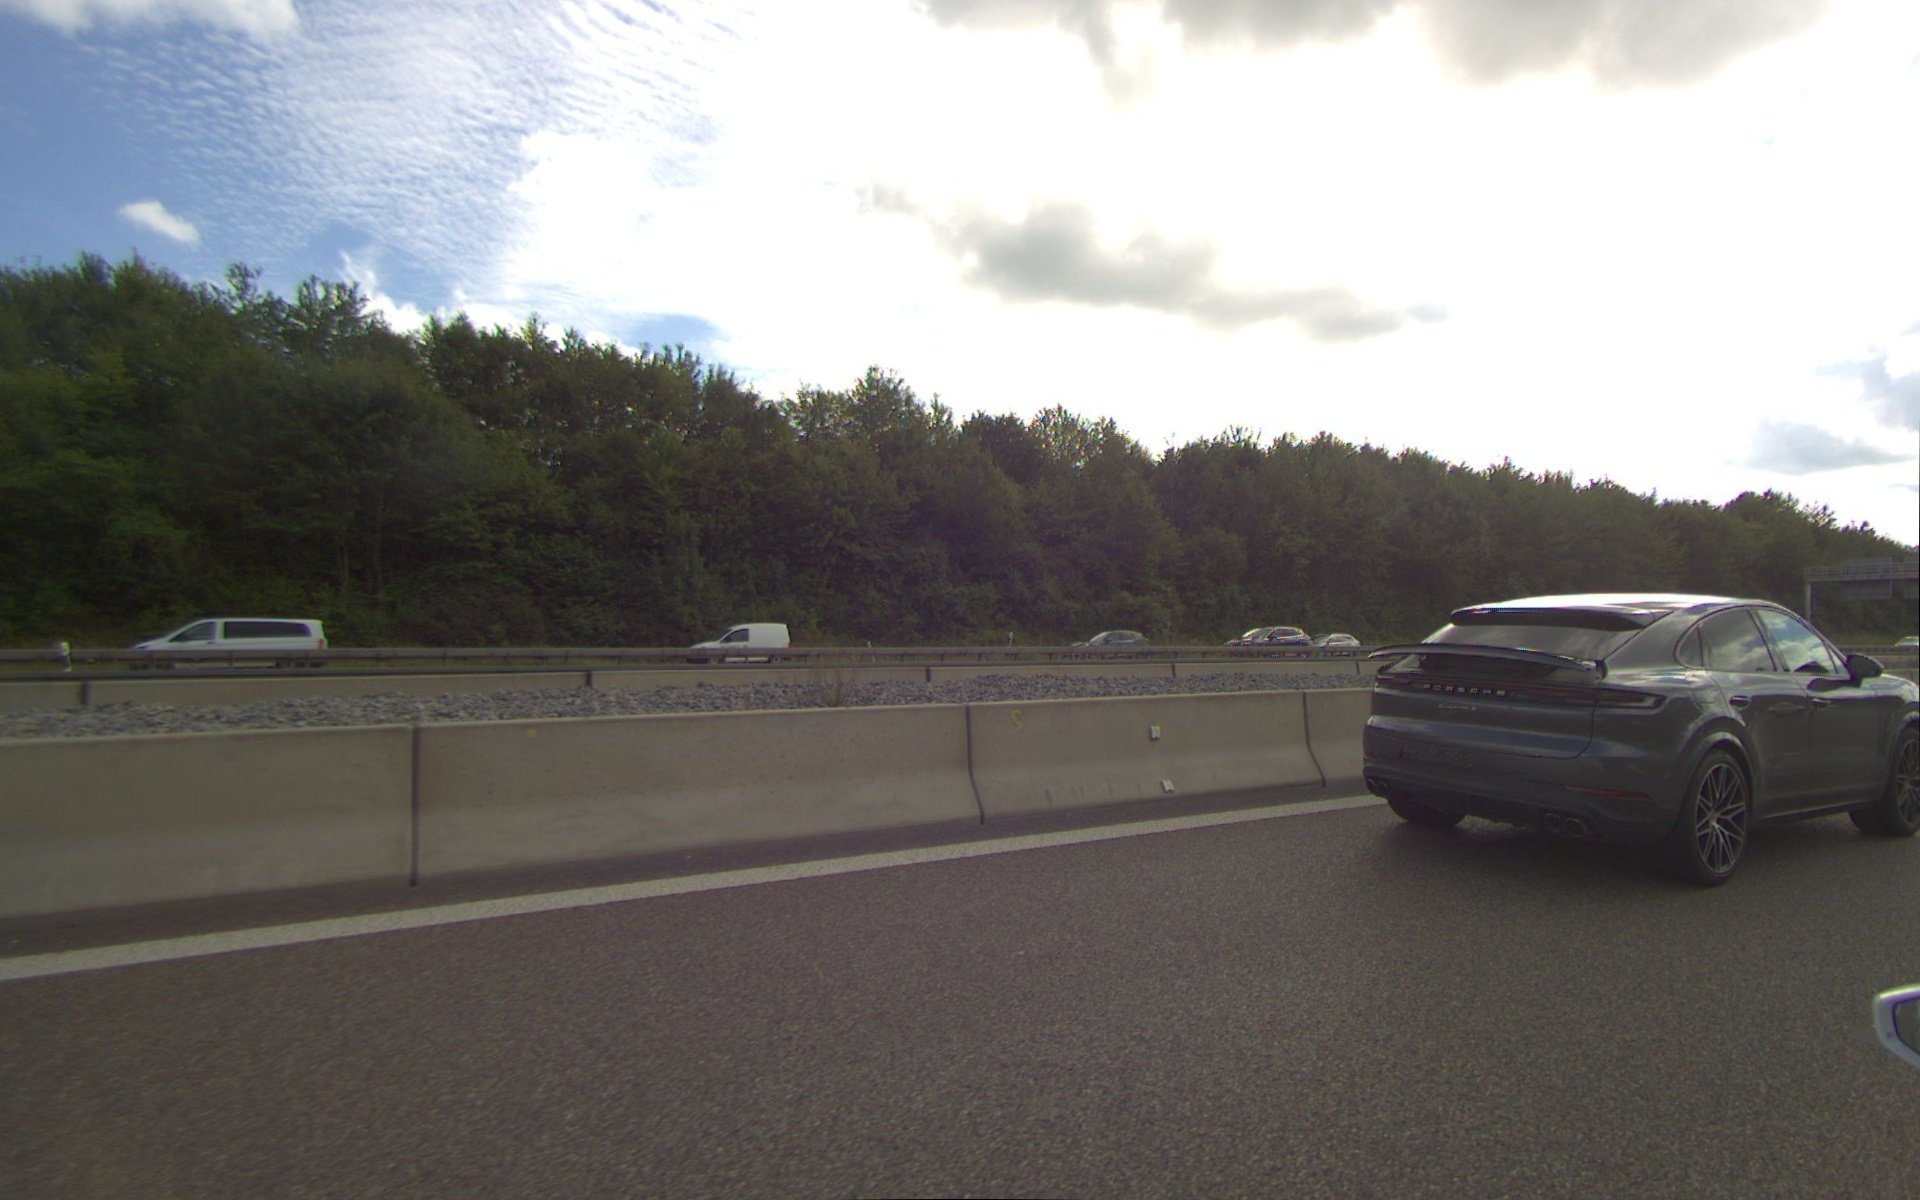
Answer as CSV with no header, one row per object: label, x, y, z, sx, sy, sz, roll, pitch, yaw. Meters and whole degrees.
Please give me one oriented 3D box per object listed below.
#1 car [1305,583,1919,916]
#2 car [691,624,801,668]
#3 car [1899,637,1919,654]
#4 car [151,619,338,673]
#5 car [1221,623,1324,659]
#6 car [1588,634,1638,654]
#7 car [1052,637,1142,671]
car,5.102,0.804,7.214,5.436,1.658,1.903,1,-1,-31
car,-8.921,1.906,41.963,4.233,1.781,1.584,1,-2,-31
car,82.397,3.902,86.239,4.005,1.383,1.556,2,-1,-31
car,-23.537,1.497,33.302,4.890,1.655,1.726,1,-2,-31
car,14.672,1.909,47.103,4.710,1.613,1.985,1,-2,-30
car,50.022,3.342,76.978,4.133,1.514,1.584,1,-2,-31
car,6.246,2.426,45.743,4.062,1.446,1.495,1,-2,-31
